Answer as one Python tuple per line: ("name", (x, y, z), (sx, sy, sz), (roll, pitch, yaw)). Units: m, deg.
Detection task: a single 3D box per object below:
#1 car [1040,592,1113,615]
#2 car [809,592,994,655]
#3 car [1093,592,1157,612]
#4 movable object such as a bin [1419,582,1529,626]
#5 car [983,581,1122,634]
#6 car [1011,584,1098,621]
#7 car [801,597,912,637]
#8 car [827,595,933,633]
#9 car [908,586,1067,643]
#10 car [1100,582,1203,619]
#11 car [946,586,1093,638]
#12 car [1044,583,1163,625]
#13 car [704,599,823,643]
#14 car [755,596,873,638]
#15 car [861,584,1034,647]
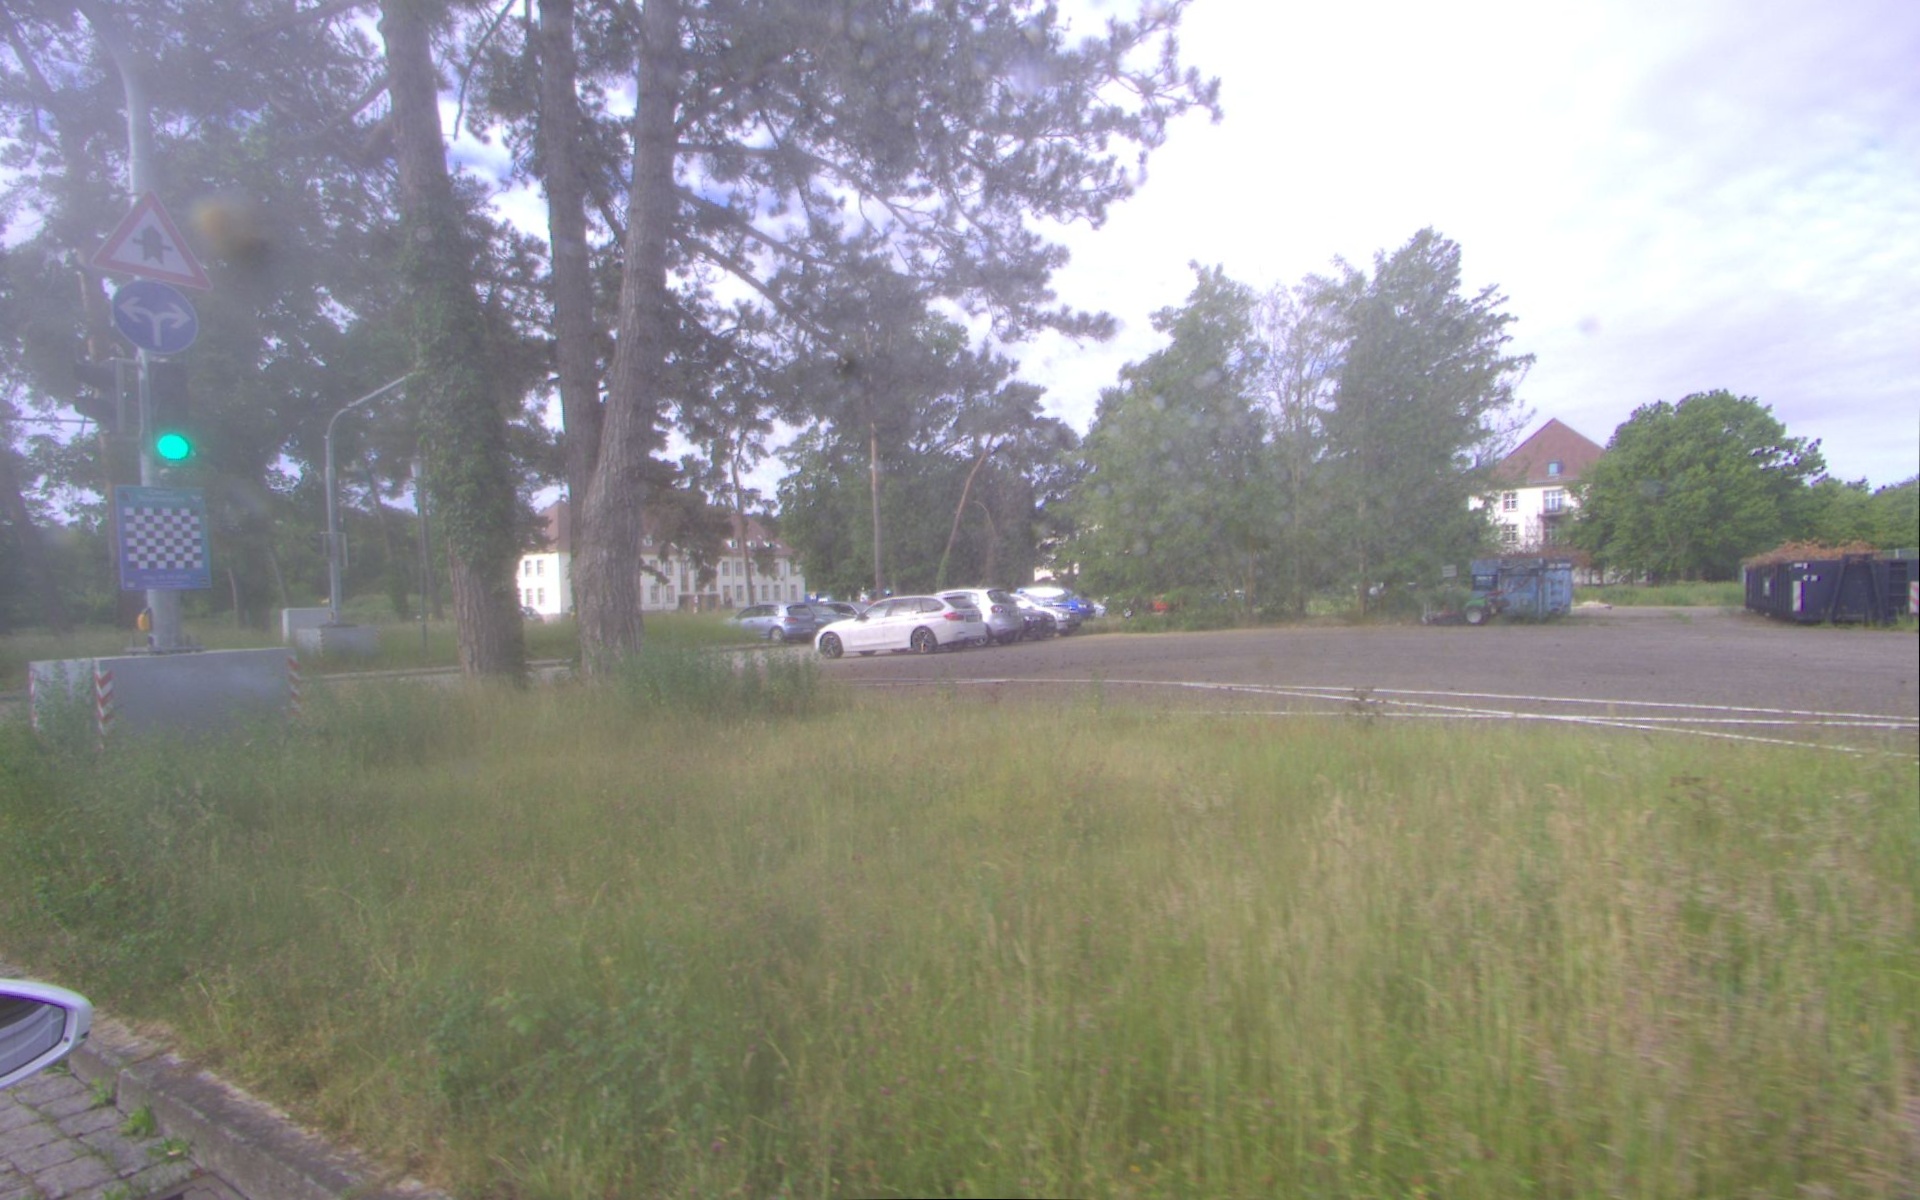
("car", (6.889, 0.221, 59.195), (3.941, 1.226, 1.654), (-1, 1, 31))
("car", (-1.494, 0.600, 25.128), (4.381, 1.434, 1.750), (-2, 0, 29))
("car", (11.058, 0.108, 67.015), (3.934, 1.226, 1.657), (-1, 1, 24))
("movable object such as a bin", (13.435, 0.085, 26.213), (2.505, 1.098, 1.060), (0, 2, 31))
("car", (3.178, 0.269, 34.628), (4.380, 1.709, 1.864), (-1, 1, 29))
("car", (5.343, 0.158, 56.993), (4.586, 1.994, 1.750), (-1, 1, 29))
("car", (-4.314, 0.707, 41.513), (4.380, 1.544, 1.750), (-1, 1, 29))
("car", (-3.515, 0.606, 43.903), (4.380, 1.544, 1.750), (-1, 1, 29))
("car", (0.812, 0.430, 29.957), (4.380, 1.598, 1.864), (-1, 1, 29))
("car", (8.942, 0.015, 46.798), (4.380, 1.598, 1.864), (-1, 1, 29))
("car", (1.900, 0.395, 32.502), (4.380, 1.598, 1.864), (-1, 1, 29))
("car", (5.787, 0.157, 40.480), (4.380, 1.598, 1.864), (-1, 1, 29))
("car", (-7.387, 0.789, 37.431), (4.386, 1.544, 1.747), (-1, 1, 34))
("car", (-5.744, 0.689, 39.272), (4.379, 1.544, 1.750), (-1, 1, 28))
("car", (-0.370, 0.435, 27.465), (4.380, 1.598, 1.864), (-1, 1, 29))
